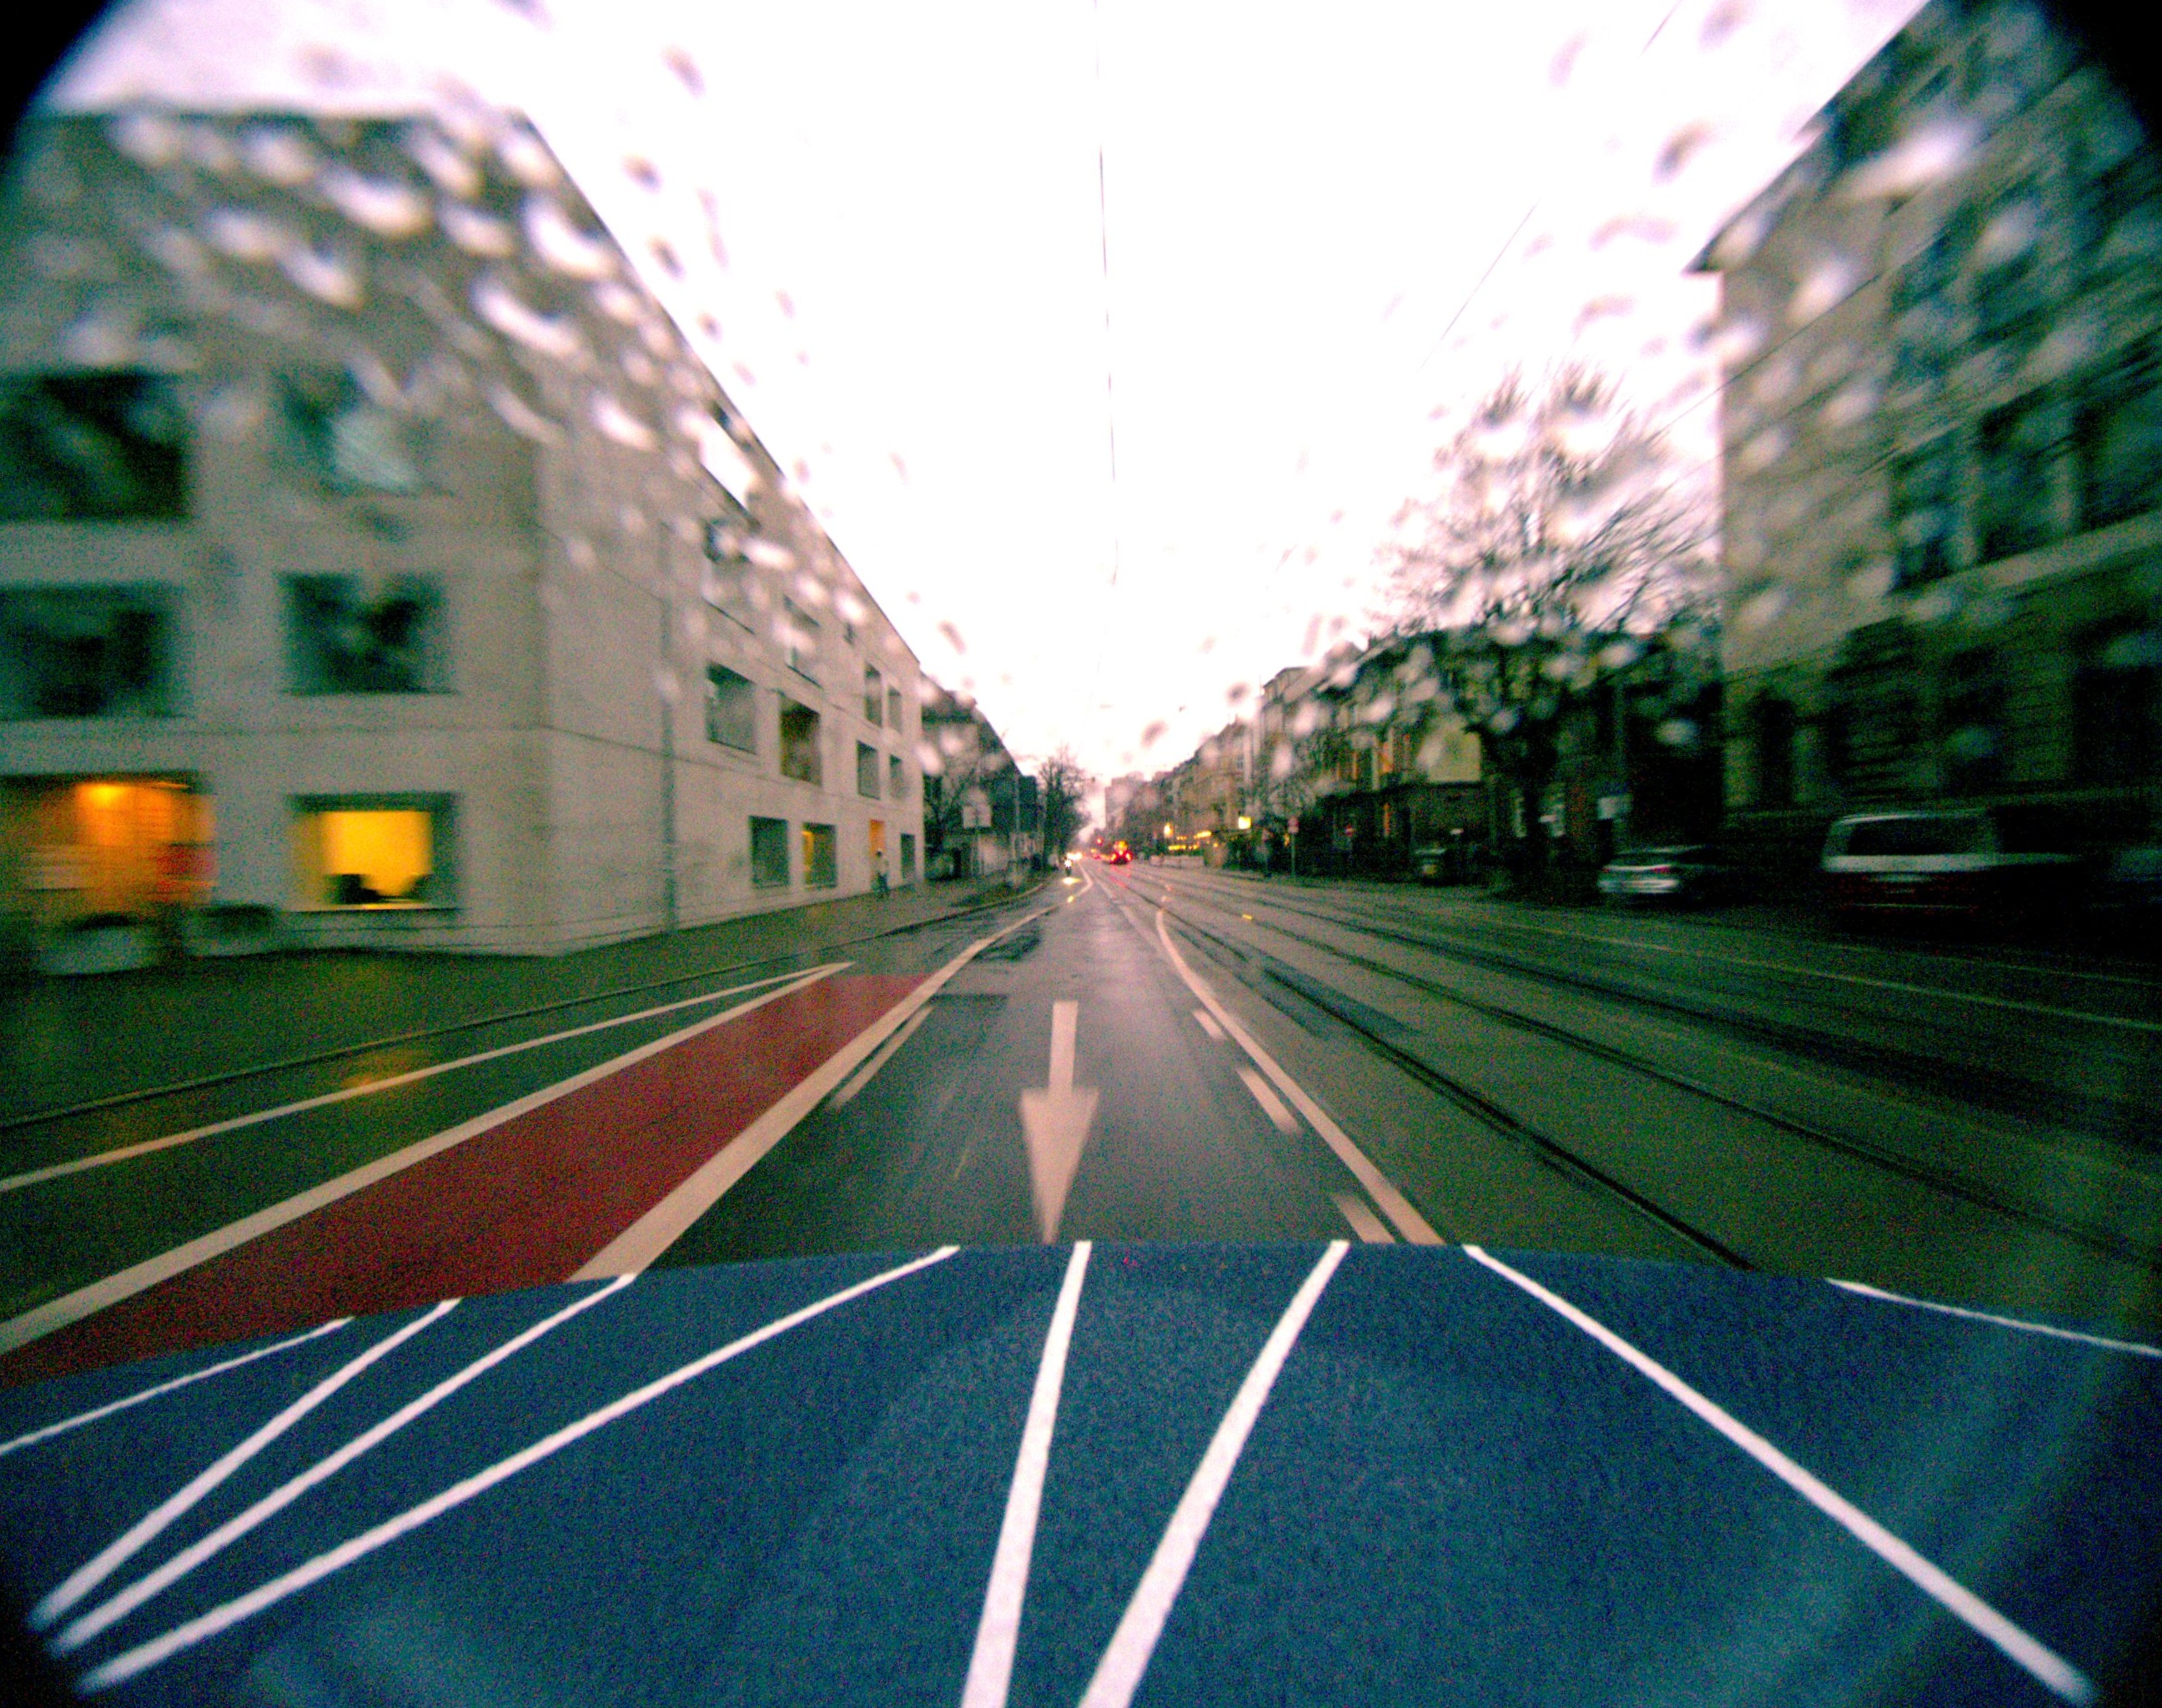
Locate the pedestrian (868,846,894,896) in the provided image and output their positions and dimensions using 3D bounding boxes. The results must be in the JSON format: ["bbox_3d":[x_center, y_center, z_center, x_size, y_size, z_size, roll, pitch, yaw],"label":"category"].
[{"bbox_3d":[-7.556,0.628,28.734,0.773,1.848,0.718,0,2,2],"label":"pedestrian"}]

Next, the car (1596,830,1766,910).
[{"bbox_3d":[14.764,0.335,18.667,4.190,1.582,1.771,-4,1,-29],"label":"car"}]

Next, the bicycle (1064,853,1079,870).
[{"bbox_3d":[-0.644,0.514,52.653,0.723,1.084,2.287,-3,-1,7],"label":"bicycle"}]

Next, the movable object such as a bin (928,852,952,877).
[{"bbox_3d":[-8.553,0.624,46.155,1.259,1.437,1.418,-1,1,-2],"label":"movable object such as a bin"}]

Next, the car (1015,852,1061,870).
[{"bbox_3d":[-4.007,0.631,70.123,3.859,1.421,1.860,-4,1,-17],"label":"car"}]

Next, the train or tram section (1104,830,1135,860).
[{"bbox_3d":[5.469,-1.374,113.436,2.885,3.715,27.327,-4,1,0],"label":"train or tram section"}]

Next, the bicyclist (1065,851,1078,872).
[{"bbox_3d":[-0.648,0.519,52.715,0.716,1.335,0.720,-3,1,7],"label":"bicyclist"}]

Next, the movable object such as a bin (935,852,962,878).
[{"bbox_3d":[-7.712,0.652,44.277,1.259,1.437,1.418,-1,1,0],"label":"movable object such as a bin"}]

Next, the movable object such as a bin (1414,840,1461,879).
[{"bbox_3d":[14.198,0.218,30.254,0.988,1.456,1.341,-5,2,-37],"label":"movable object such as a bin"}]

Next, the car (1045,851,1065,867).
[{"bbox_3d":[-2.696,0.550,80.130,1.658,1.507,3.502,-4,1,4],"label":"car"}]

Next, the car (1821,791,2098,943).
[{"bbox_3d":[14.752,0.116,12.725,4.628,2.042,1.962,-4,1,-27],"label":"car"}]

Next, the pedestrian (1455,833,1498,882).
[{"bbox_3d":[14.392,0.132,27.658,0.924,1.693,0.946,-4,2,-22],"label":"pedestrian"}]

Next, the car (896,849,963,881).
[{"bbox_3d":[-8.826,0.633,44.406,3.458,1.638,1.731,-4,1,0],"label":"car"}]

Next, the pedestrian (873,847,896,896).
[{"bbox_3d":[-7.435,0.648,28.749,0.657,1.849,0.659,0,2,2],"label":"pedestrian"}]

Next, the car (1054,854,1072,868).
[{"bbox_3d":[-2.126,0.829,90.412,1.658,1.507,3.502,-4,1,4],"label":"car"}]

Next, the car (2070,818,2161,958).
[{"bbox_3d":[14.734,0.348,9.733,3.981,1.531,1.820,-4,1,-27],"label":"car"}]
